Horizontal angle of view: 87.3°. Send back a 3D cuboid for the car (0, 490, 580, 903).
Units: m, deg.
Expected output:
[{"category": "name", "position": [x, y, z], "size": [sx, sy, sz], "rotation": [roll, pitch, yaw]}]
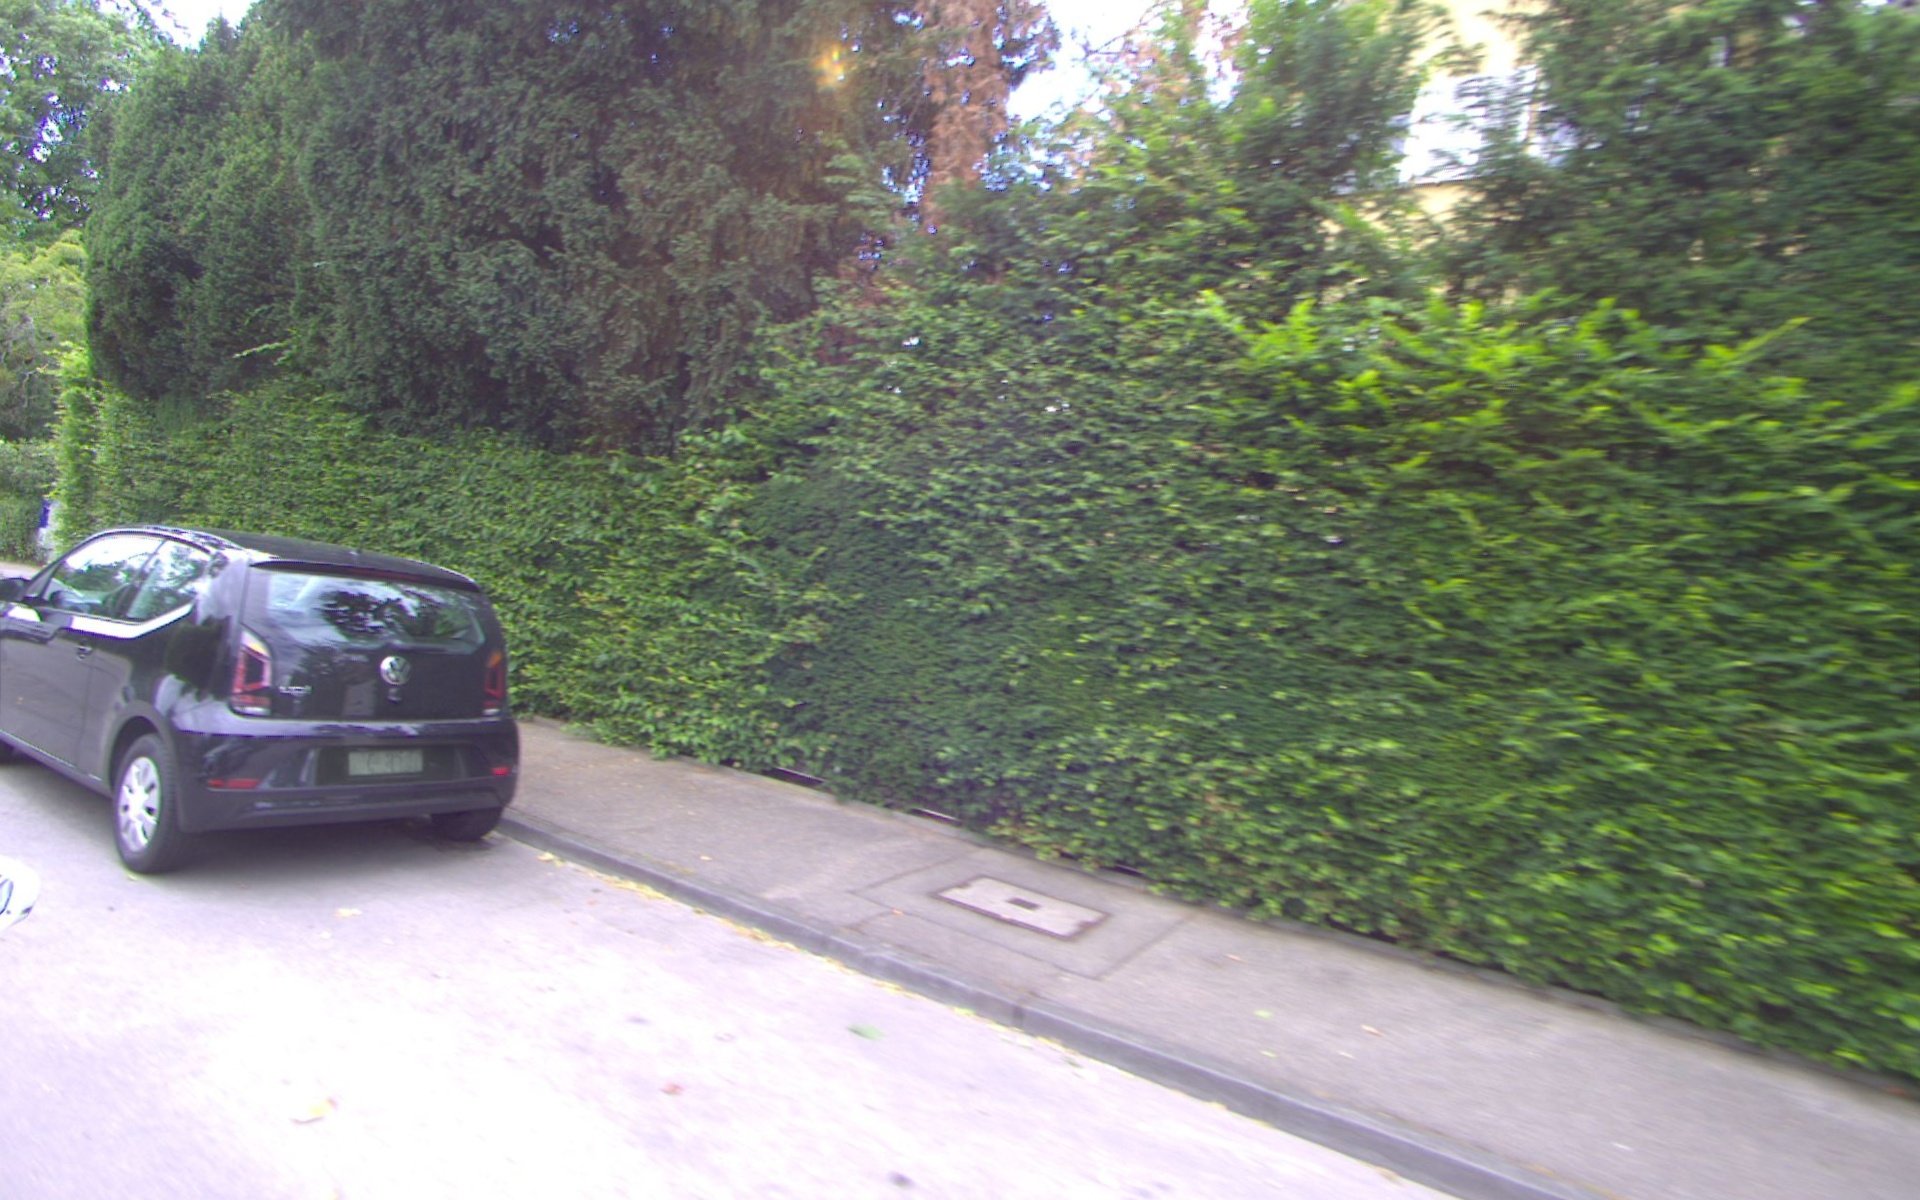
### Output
[{"category": "car", "position": [-4.079, 0.328, 5.605], "size": [3.678, 1.490, 1.627], "rotation": [7, -1, 32]}]
